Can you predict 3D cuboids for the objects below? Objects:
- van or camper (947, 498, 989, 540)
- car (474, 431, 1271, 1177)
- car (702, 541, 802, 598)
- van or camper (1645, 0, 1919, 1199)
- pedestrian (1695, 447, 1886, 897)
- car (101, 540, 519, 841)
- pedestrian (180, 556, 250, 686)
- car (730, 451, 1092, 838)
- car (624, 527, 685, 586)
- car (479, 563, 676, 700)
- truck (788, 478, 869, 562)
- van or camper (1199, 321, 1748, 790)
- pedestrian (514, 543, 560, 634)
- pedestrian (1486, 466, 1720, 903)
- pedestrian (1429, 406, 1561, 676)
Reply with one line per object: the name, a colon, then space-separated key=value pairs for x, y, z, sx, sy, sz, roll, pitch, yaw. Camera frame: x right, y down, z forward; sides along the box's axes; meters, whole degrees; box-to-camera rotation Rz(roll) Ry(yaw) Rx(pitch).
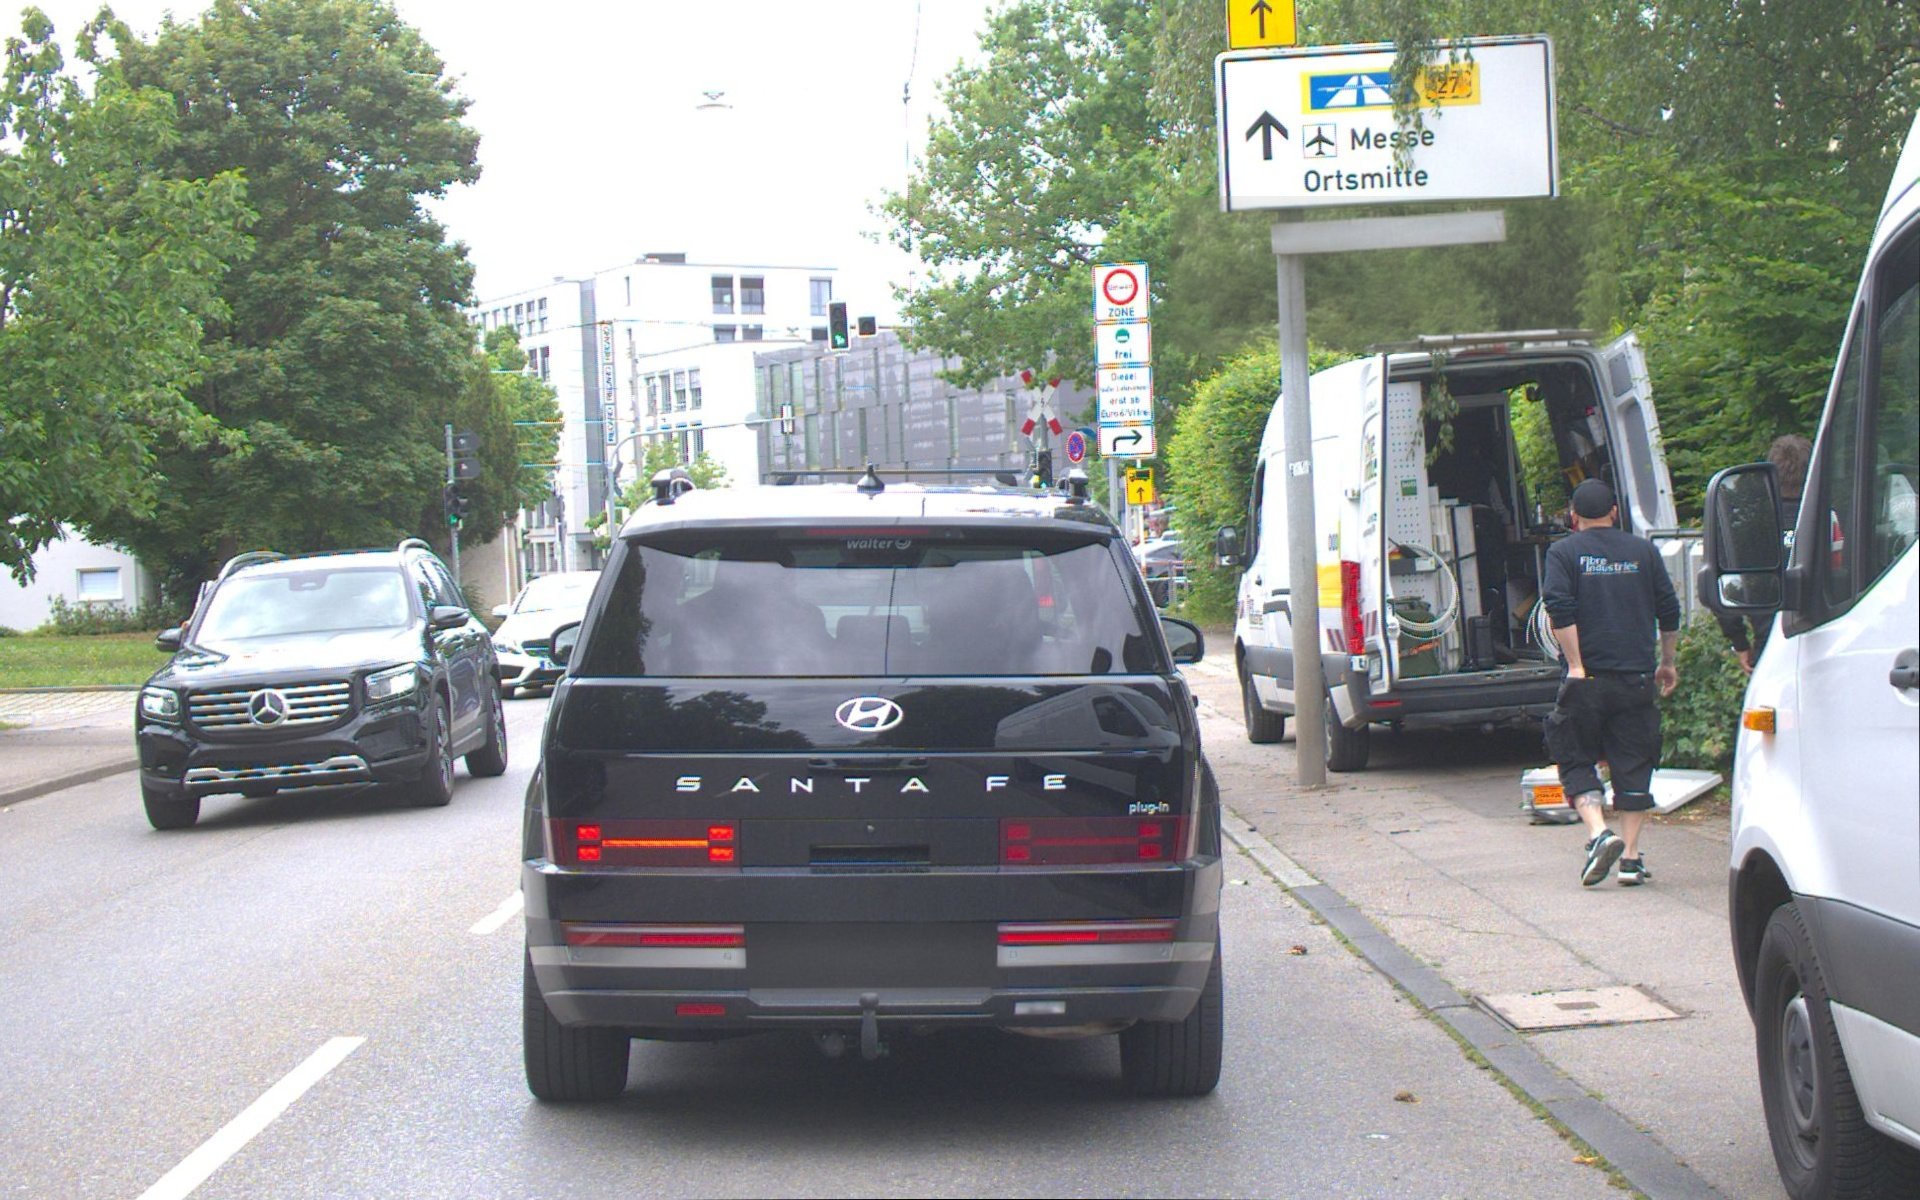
van or camper: x=0.374 y=-3.997 z=170.104 sx=1.795 sy=1.992 sz=3.824 roll=1 pitch=0 yaw=-4
car: x=-0.230 y=0.478 z=10.338 sx=1.897 sy=1.770 sz=3.994 roll=1 pitch=0 yaw=-1
car: x=-5.860 y=-0.877 z=97.362 sx=1.838 sy=1.533 sz=4.266 roll=-1 pitch=1 yaw=10
van or camper: x=2.668 y=0.037 z=4.498 sx=1.991 sy=2.616 sz=6.544 roll=-4 pitch=1 yaw=0
pedestrian: x=3.330 y=0.283 z=13.757 sx=0.648 sy=1.745 sz=0.654 roll=-2 pitch=0 yaw=18
car: x=-4.078 y=0.511 z=22.236 sx=1.880 sy=1.639 sz=4.128 roll=-4 pitch=1 yaw=-1
pedestrian: x=-10.085 y=0.272 z=46.545 sx=0.767 sy=1.742 sz=0.904 roll=0 pitch=0 yaw=-2
car: x=-0.282 y=0.223 z=20.420 sx=1.897 sy=2.035 sz=3.994 roll=1 pitch=0 yaw=-1
car: x=-12.609 y=-1.782 z=141.698 sx=2.332 sy=2.307 sz=4.959 roll=-2 pitch=1 yaw=-6
car: x=-4.566 y=0.339 z=41.666 sx=1.814 sy=1.414 sz=4.829 roll=-5 pitch=1 yaw=-1
truck: x=-6.382 y=-3.792 z=165.608 sx=3.107 sy=3.846 sz=9.623 roll=-2 pitch=1 yaw=-6
van or camper: x=3.157 y=-0.249 z=22.886 sx=2.340 sy=2.486 sz=6.603 roll=-5 pitch=0 yaw=-1
pedestrian: x=-9.435 y=-0.266 z=76.775 sx=0.830 sy=2.007 sz=1.047 roll=1 pitch=0 yaw=2
pedestrian: x=2.635 y=0.332 z=14.166 sx=0.750 sy=1.715 sz=0.792 roll=-3 pitch=1 yaw=2
pedestrian: x=3.373 y=-0.365 z=21.695 sx=0.736 sy=1.638 sz=0.801 roll=-3 pitch=0 yaw=9
